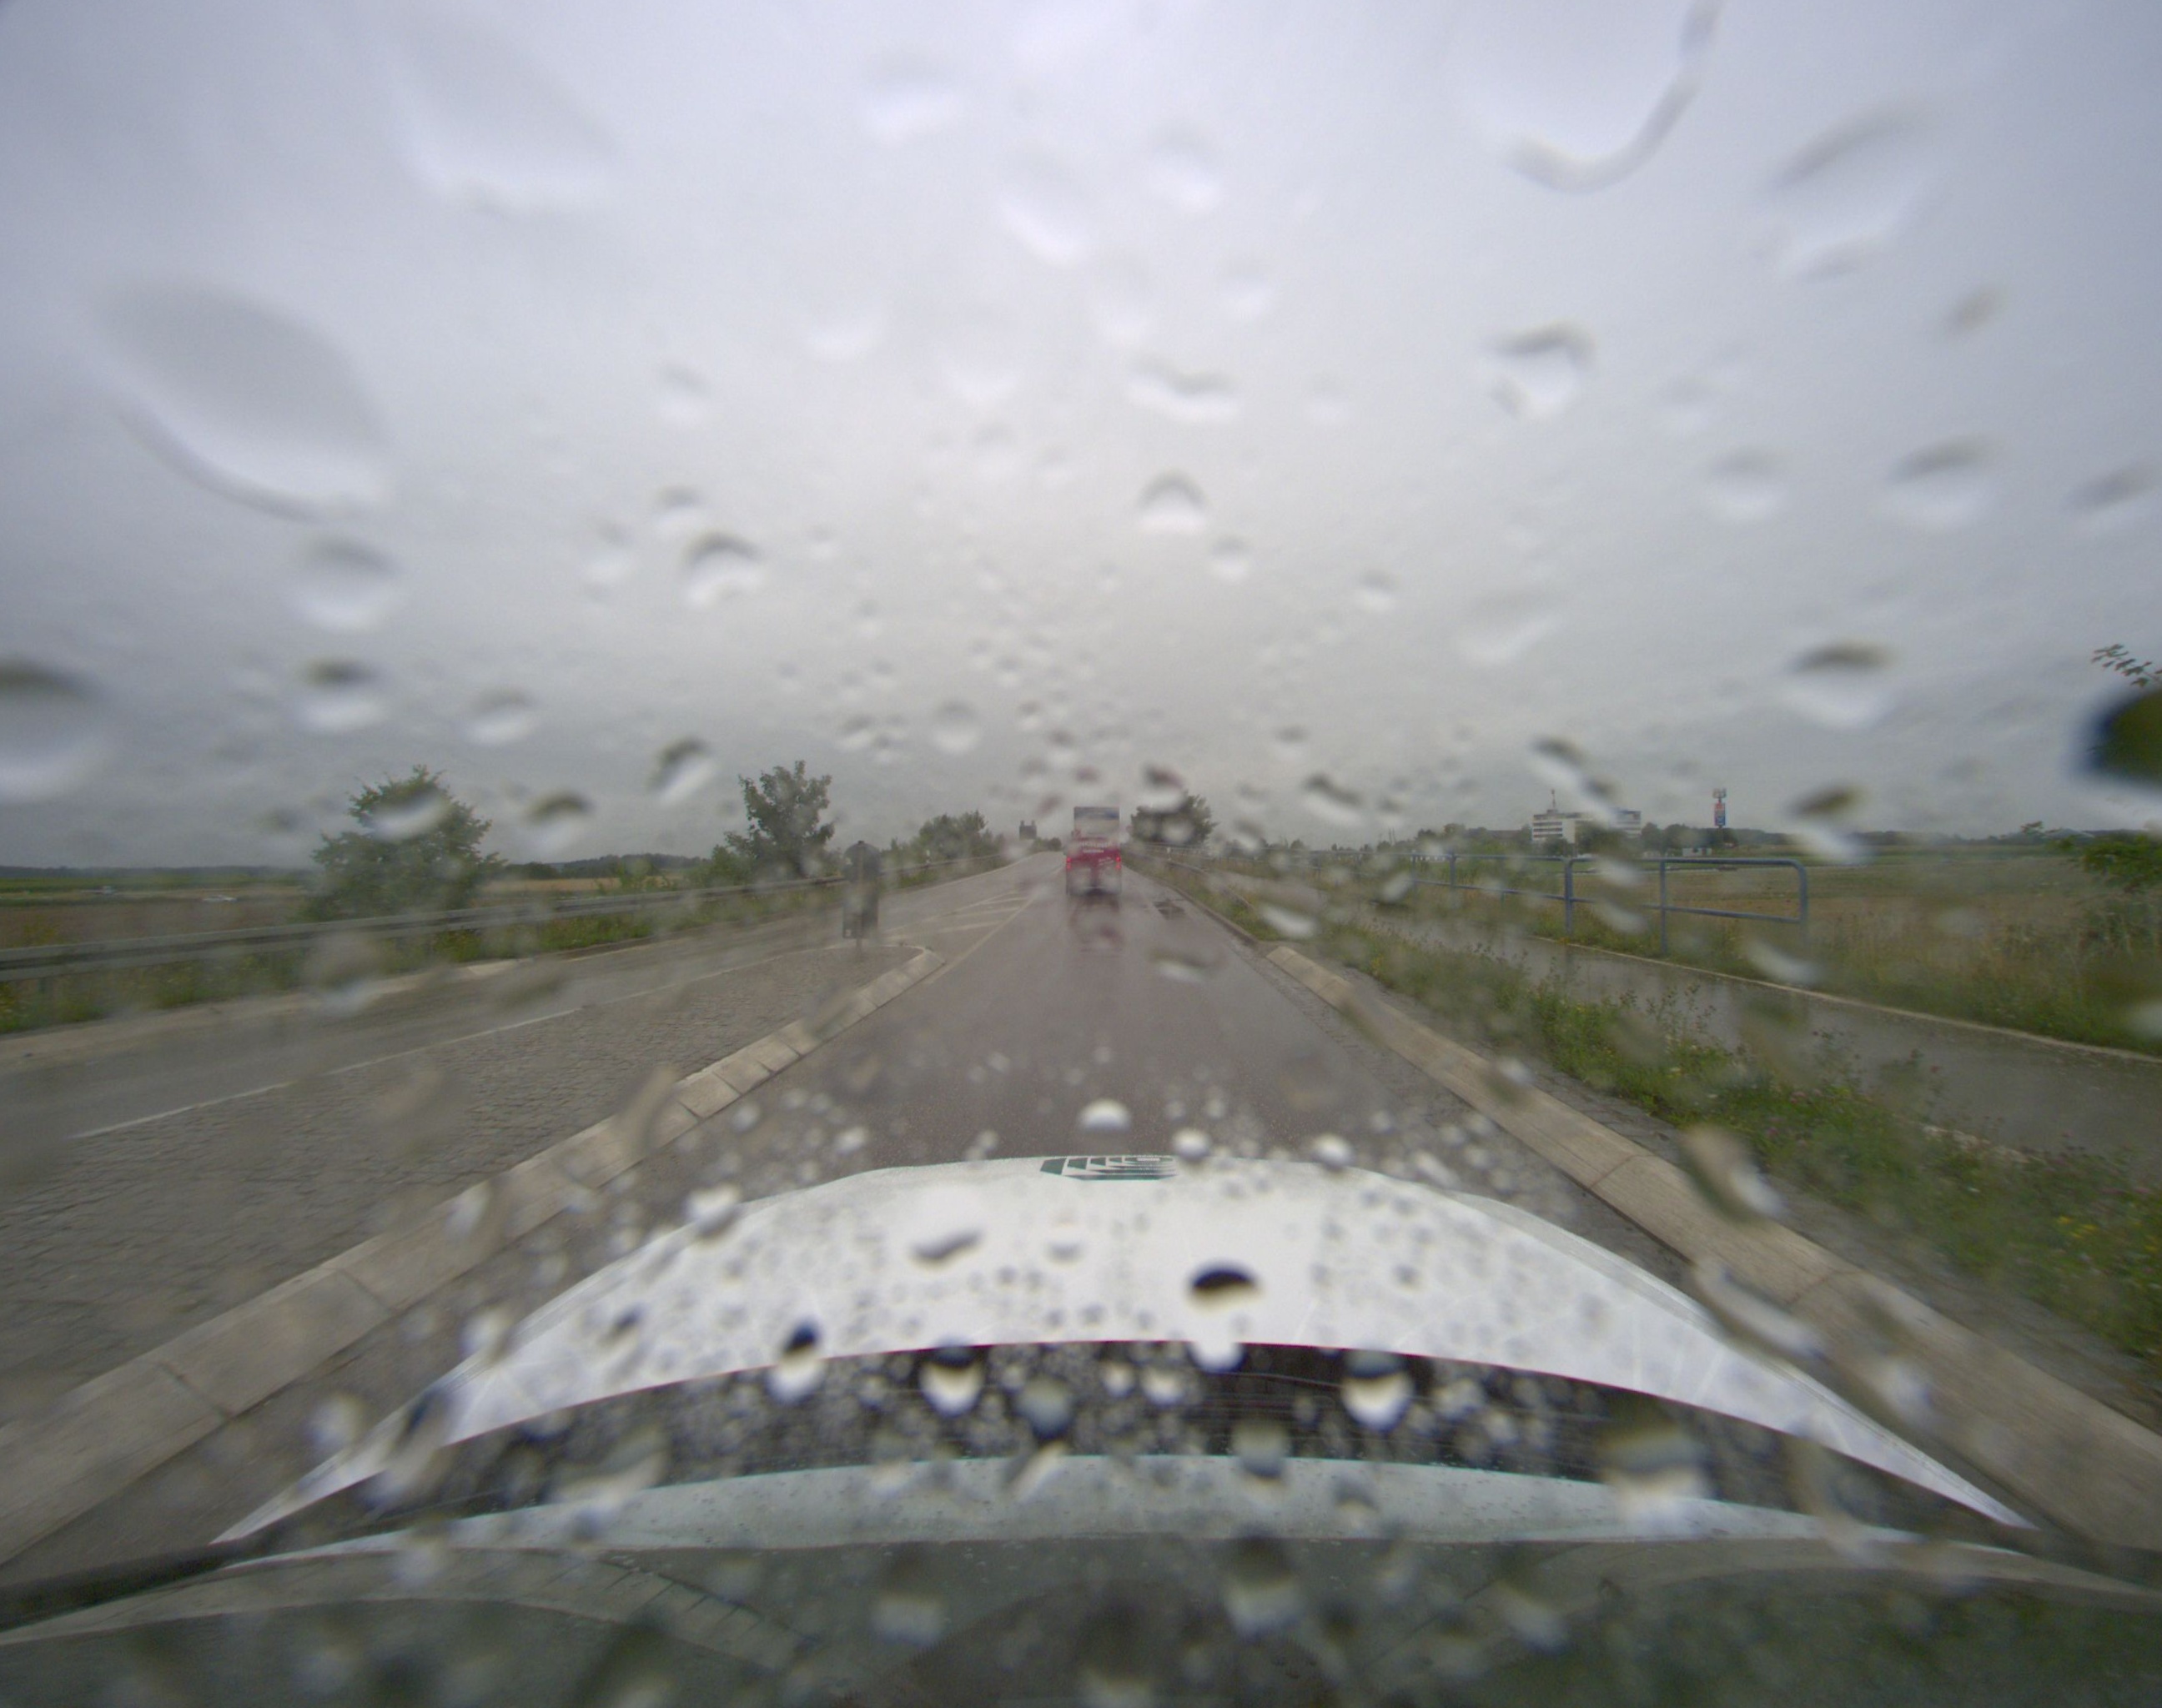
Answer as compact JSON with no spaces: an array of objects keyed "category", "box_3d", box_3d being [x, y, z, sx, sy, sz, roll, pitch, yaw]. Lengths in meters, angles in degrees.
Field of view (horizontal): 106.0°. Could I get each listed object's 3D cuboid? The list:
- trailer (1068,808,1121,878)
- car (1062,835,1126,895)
[{"category":"trailer","box_3d":[0.854,-0.602,49.854,2.822,3.819,9.716,-1,0,1]},{"category":"car","box_3d":[0.552,0.329,28.525,1.985,1.870,4.983,-2,1,3]}]
